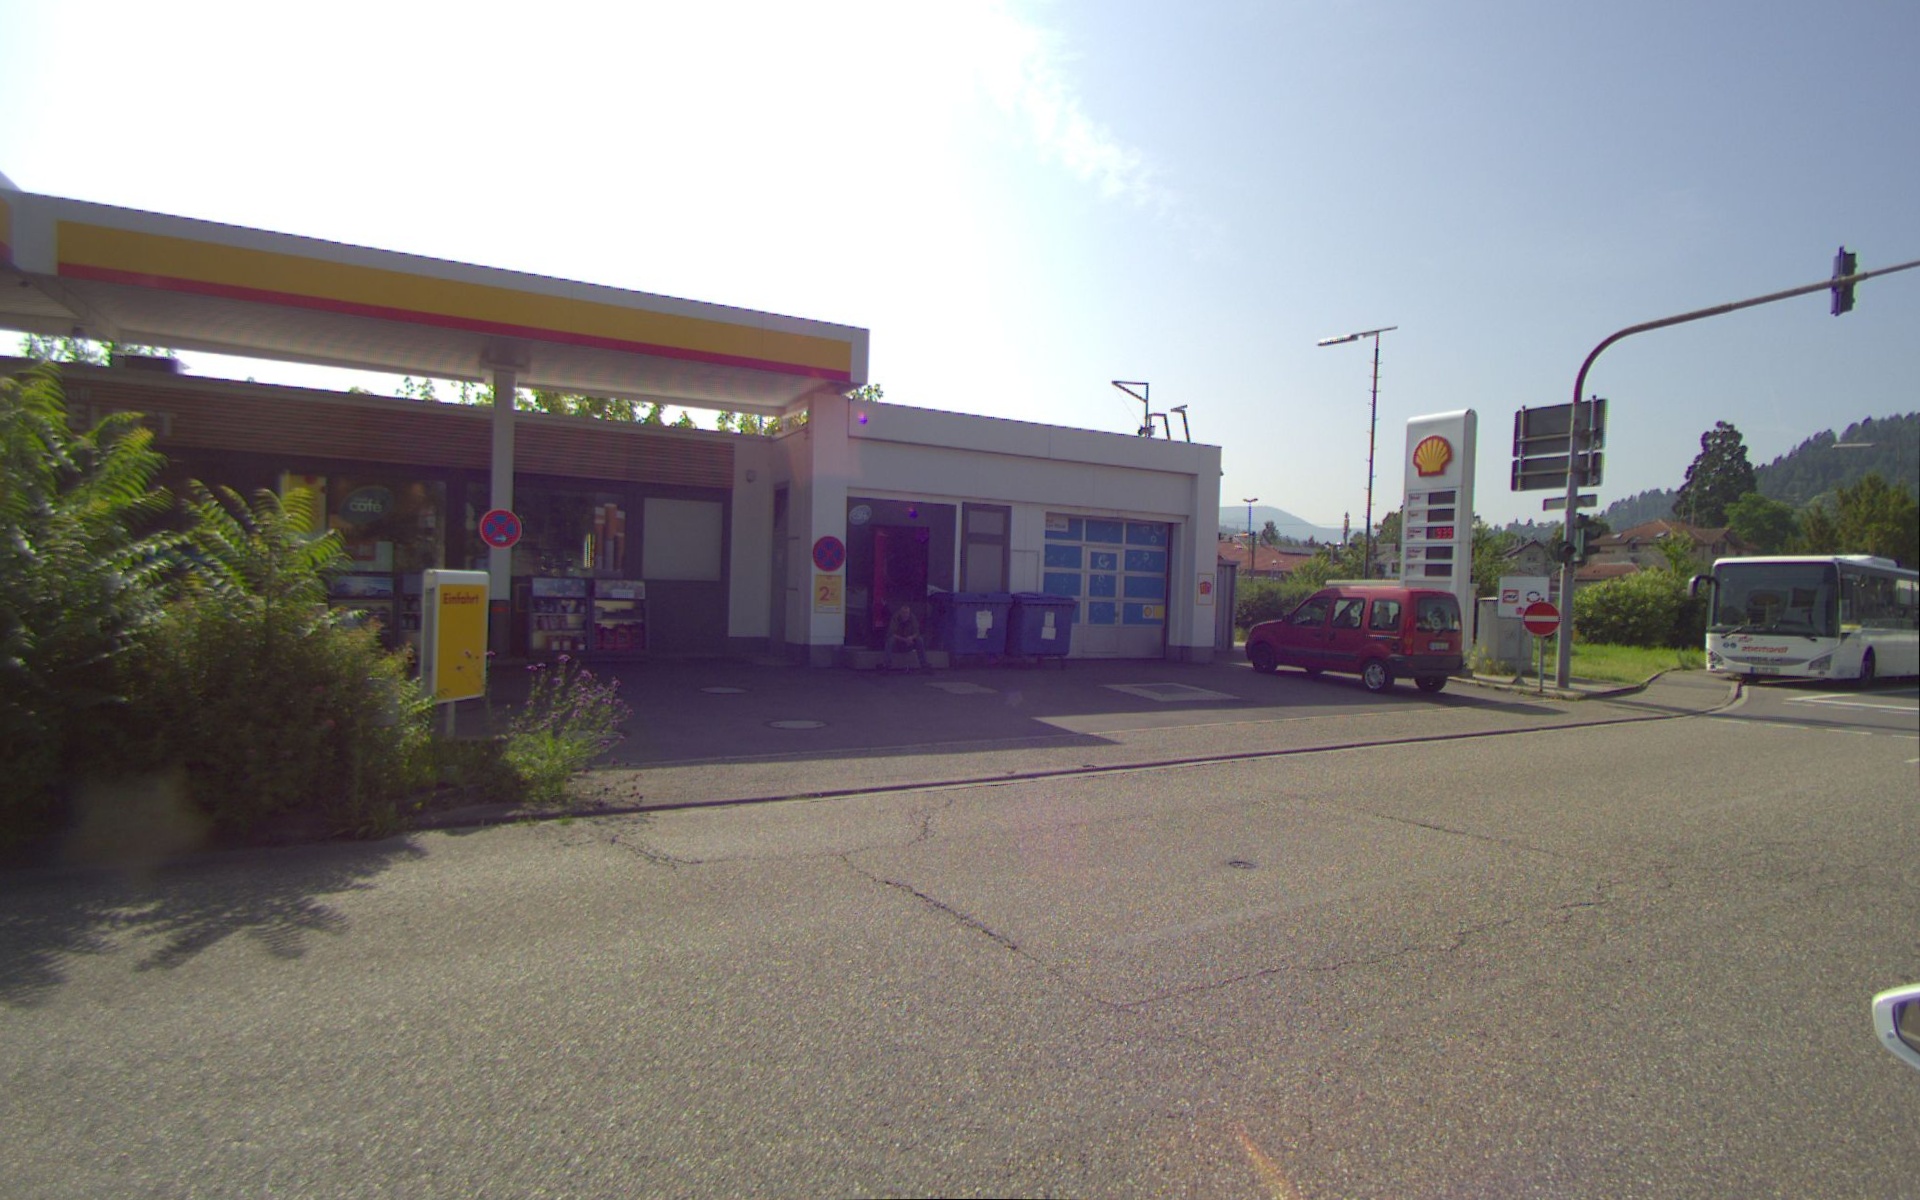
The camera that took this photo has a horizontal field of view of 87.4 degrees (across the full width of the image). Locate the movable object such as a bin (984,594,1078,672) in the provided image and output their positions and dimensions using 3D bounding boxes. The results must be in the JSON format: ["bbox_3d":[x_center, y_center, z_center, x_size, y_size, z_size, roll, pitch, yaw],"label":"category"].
[{"bbox_3d":[1.268,0.579,18.056,1.153,1.259,1.236,1,4,-28],"label":"movable object such as a bin"}]

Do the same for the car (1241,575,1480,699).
[{"bbox_3d":[7.128,0.577,18.277,1.681,1.820,3.759,1,4,-28],"label":"car"}]

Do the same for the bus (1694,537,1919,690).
[{"bbox_3d":[23.285,0.425,26.536,11.837,3.354,2.603,2,0,-35],"label":"bus"}]

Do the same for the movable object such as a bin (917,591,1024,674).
[{"bbox_3d":[0.172,0.553,17.587,1.417,1.307,1.236,1,4,-28],"label":"movable object such as a bin"}]

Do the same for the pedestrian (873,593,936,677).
[{"bbox_3d":[-0.913,0.565,16.452,0.806,1.313,0.612,1,2,-29],"label":"pedestrian"}]
